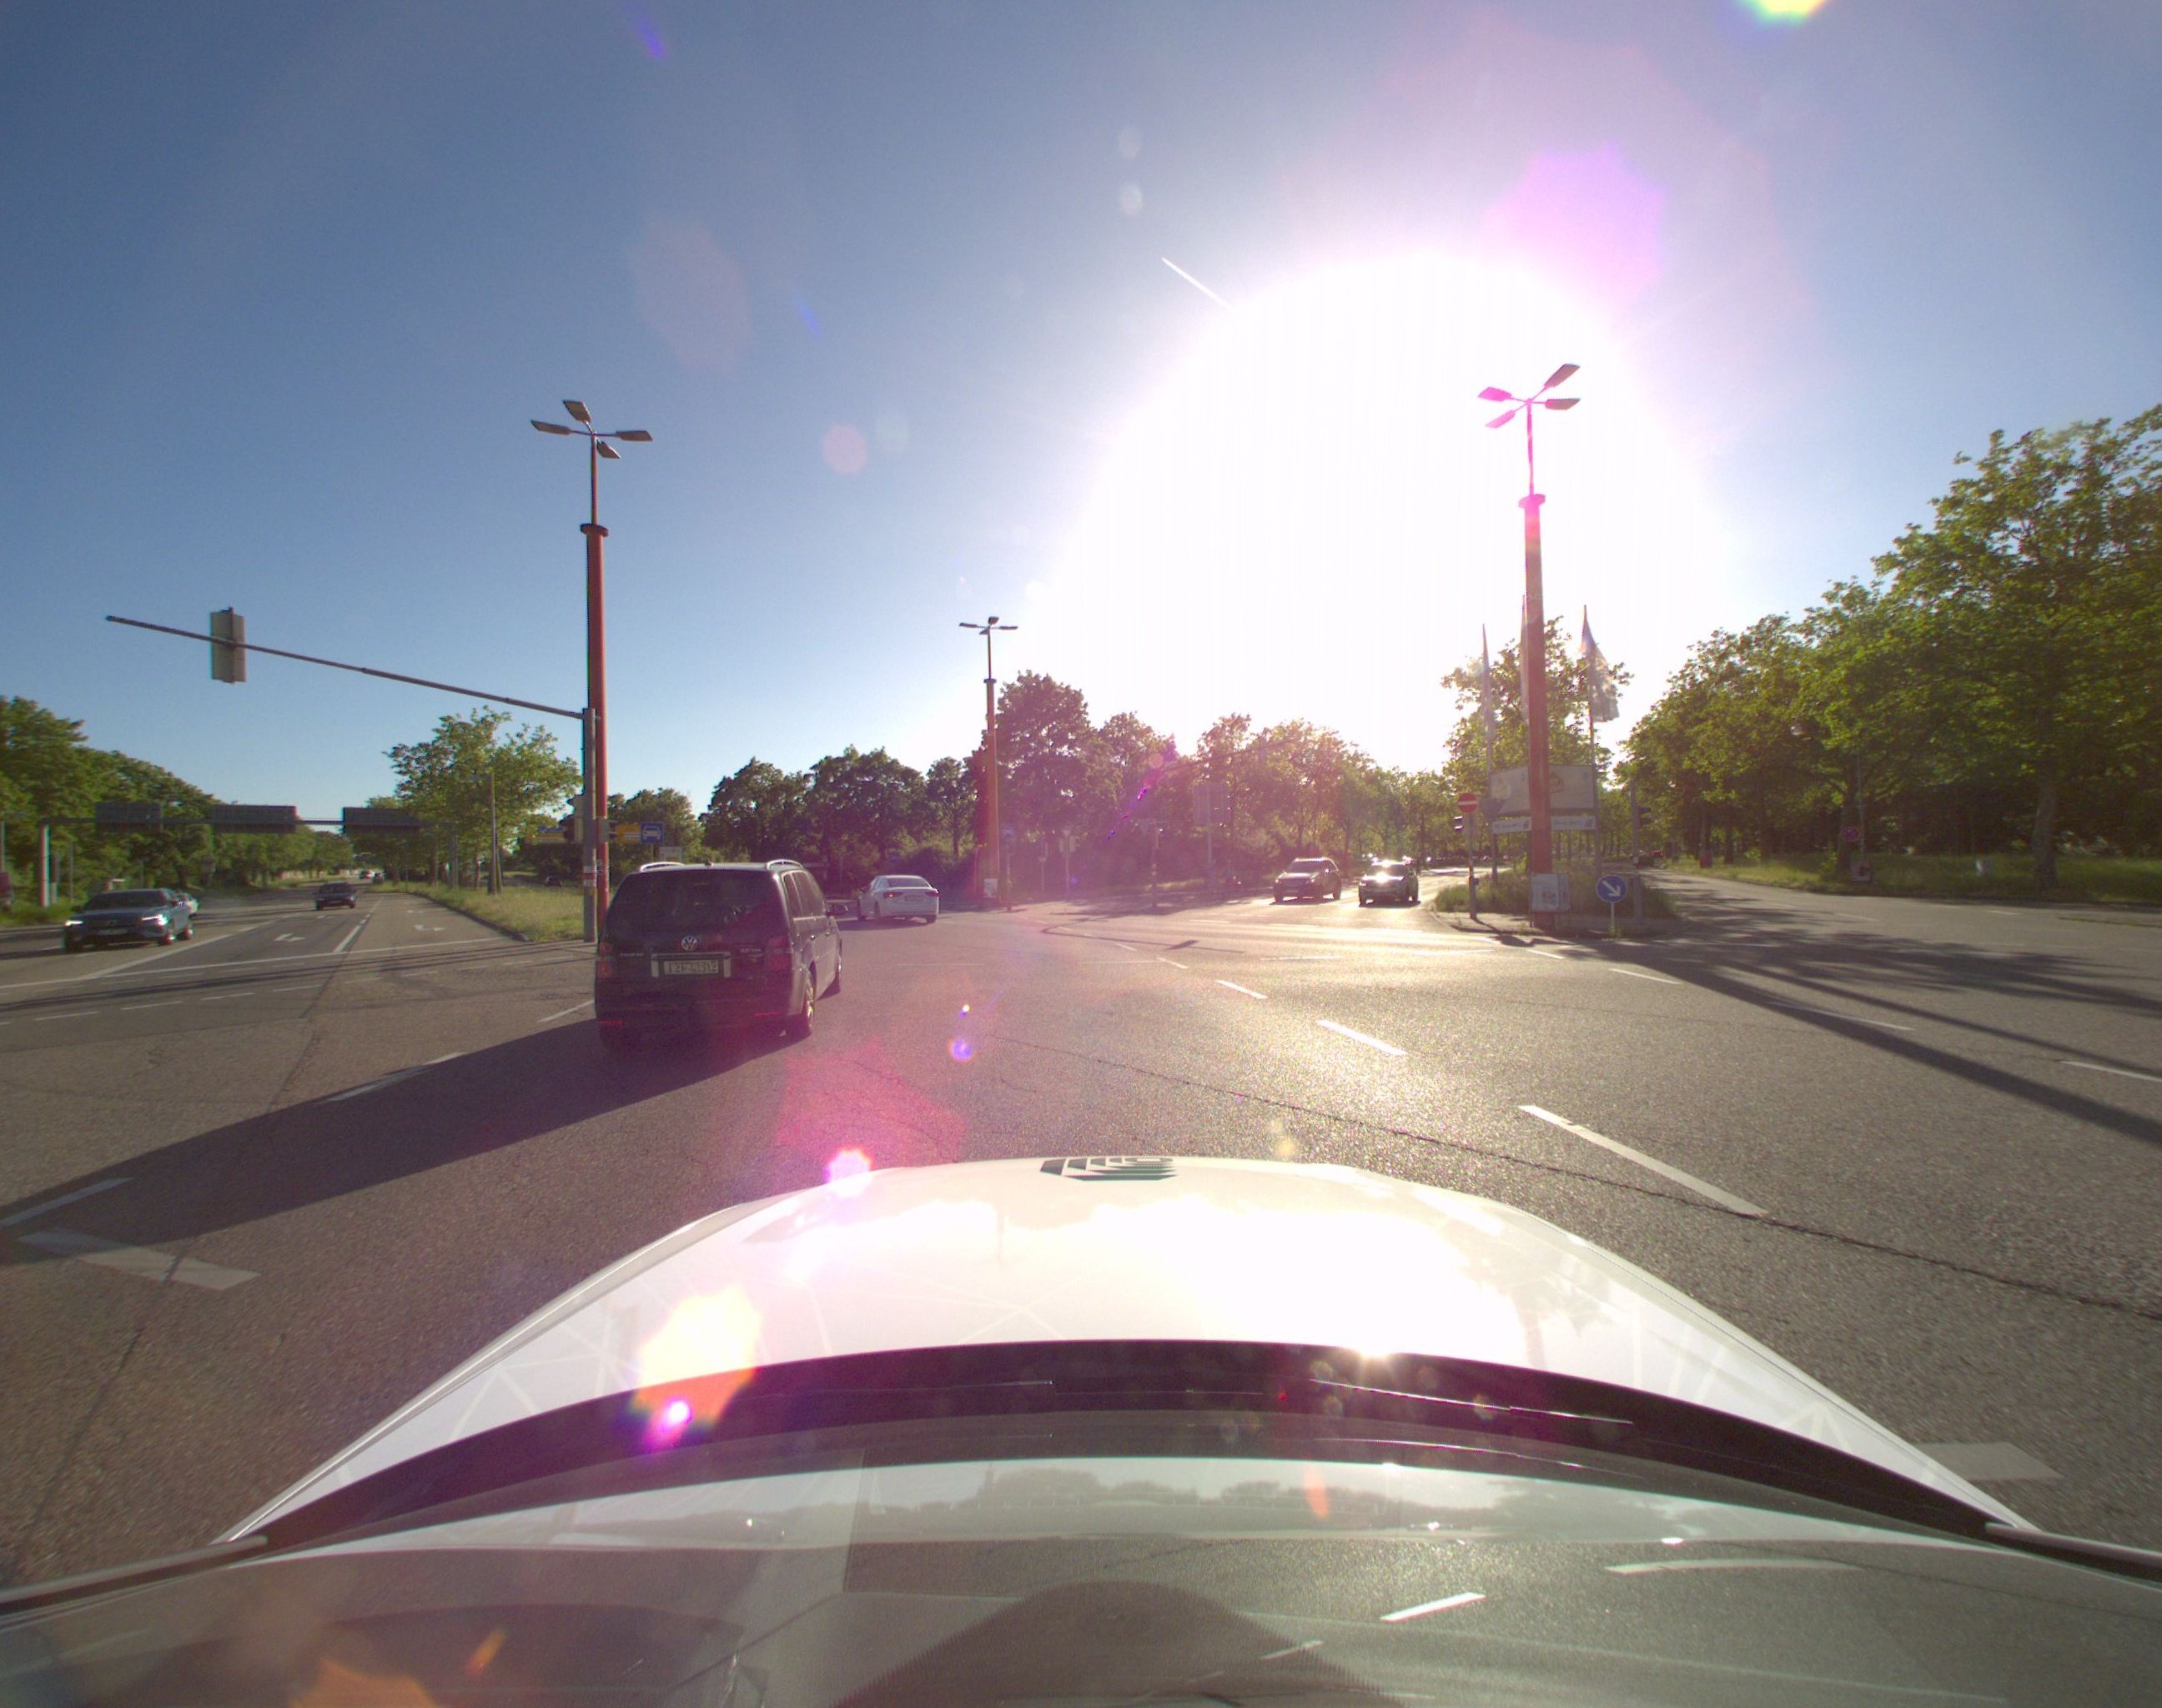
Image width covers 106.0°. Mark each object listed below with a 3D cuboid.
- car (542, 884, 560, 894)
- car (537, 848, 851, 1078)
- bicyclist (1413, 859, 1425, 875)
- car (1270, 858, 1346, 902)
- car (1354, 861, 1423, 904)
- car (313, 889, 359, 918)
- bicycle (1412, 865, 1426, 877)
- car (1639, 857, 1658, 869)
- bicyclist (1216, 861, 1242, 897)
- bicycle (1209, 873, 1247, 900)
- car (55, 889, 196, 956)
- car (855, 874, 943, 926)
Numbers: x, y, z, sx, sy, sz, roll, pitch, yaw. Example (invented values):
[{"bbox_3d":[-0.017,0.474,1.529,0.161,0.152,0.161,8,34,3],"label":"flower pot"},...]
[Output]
[{"bbox_3d":[-81.042,5.323,124.507,1.782,1.464,4.315,0,-2,-39],"label":"car"},{"bbox_3d":[-3.526,0.838,8.474,1.768,1.644,4.904,-1,-1,-11],"label":"car"},{"bbox_3d":[31.419,1.211,75.712,0.728,1.437,0.972,-2,-2,35],"label":"bicyclist"},{"bbox_3d":[9.760,1.079,34.787,1.884,1.727,4.682,-2,-1,32],"label":"car"},{"bbox_3d":[11.880,1.060,31.350,1.750,1.539,4.116,-2,-1,31],"label":"car"},{"bbox_3d":[-45.672,2.985,50.024,1.915,1.565,4.511,-2,0,-41],"label":"car"},{"bbox_3d":[31.374,1.589,75.620,0.728,1.091,2.028,-2,-2,35],"label":"bicycle"},{"bbox_3d":[66.865,1.033,95.964,1.772,1.388,4.075,-1,-1,34],"label":"car"},{"bbox_3d":[6.640,1.105,36.520,0.751,1.558,0.987,-3,-1,39],"label":"bicyclist"},{"bbox_3d":[6.601,1.447,36.446,0.756,1.091,2.028,-3,-1,39],"label":"bicycle"},{"bbox_3d":[-27.286,1.869,23.429,1.915,1.610,4.511,-2,0,-41],"label":"car"},{"bbox_3d":[-5.804,1.368,25.552,1.776,1.464,4.329,0,-1,-25],"label":"car"}]
